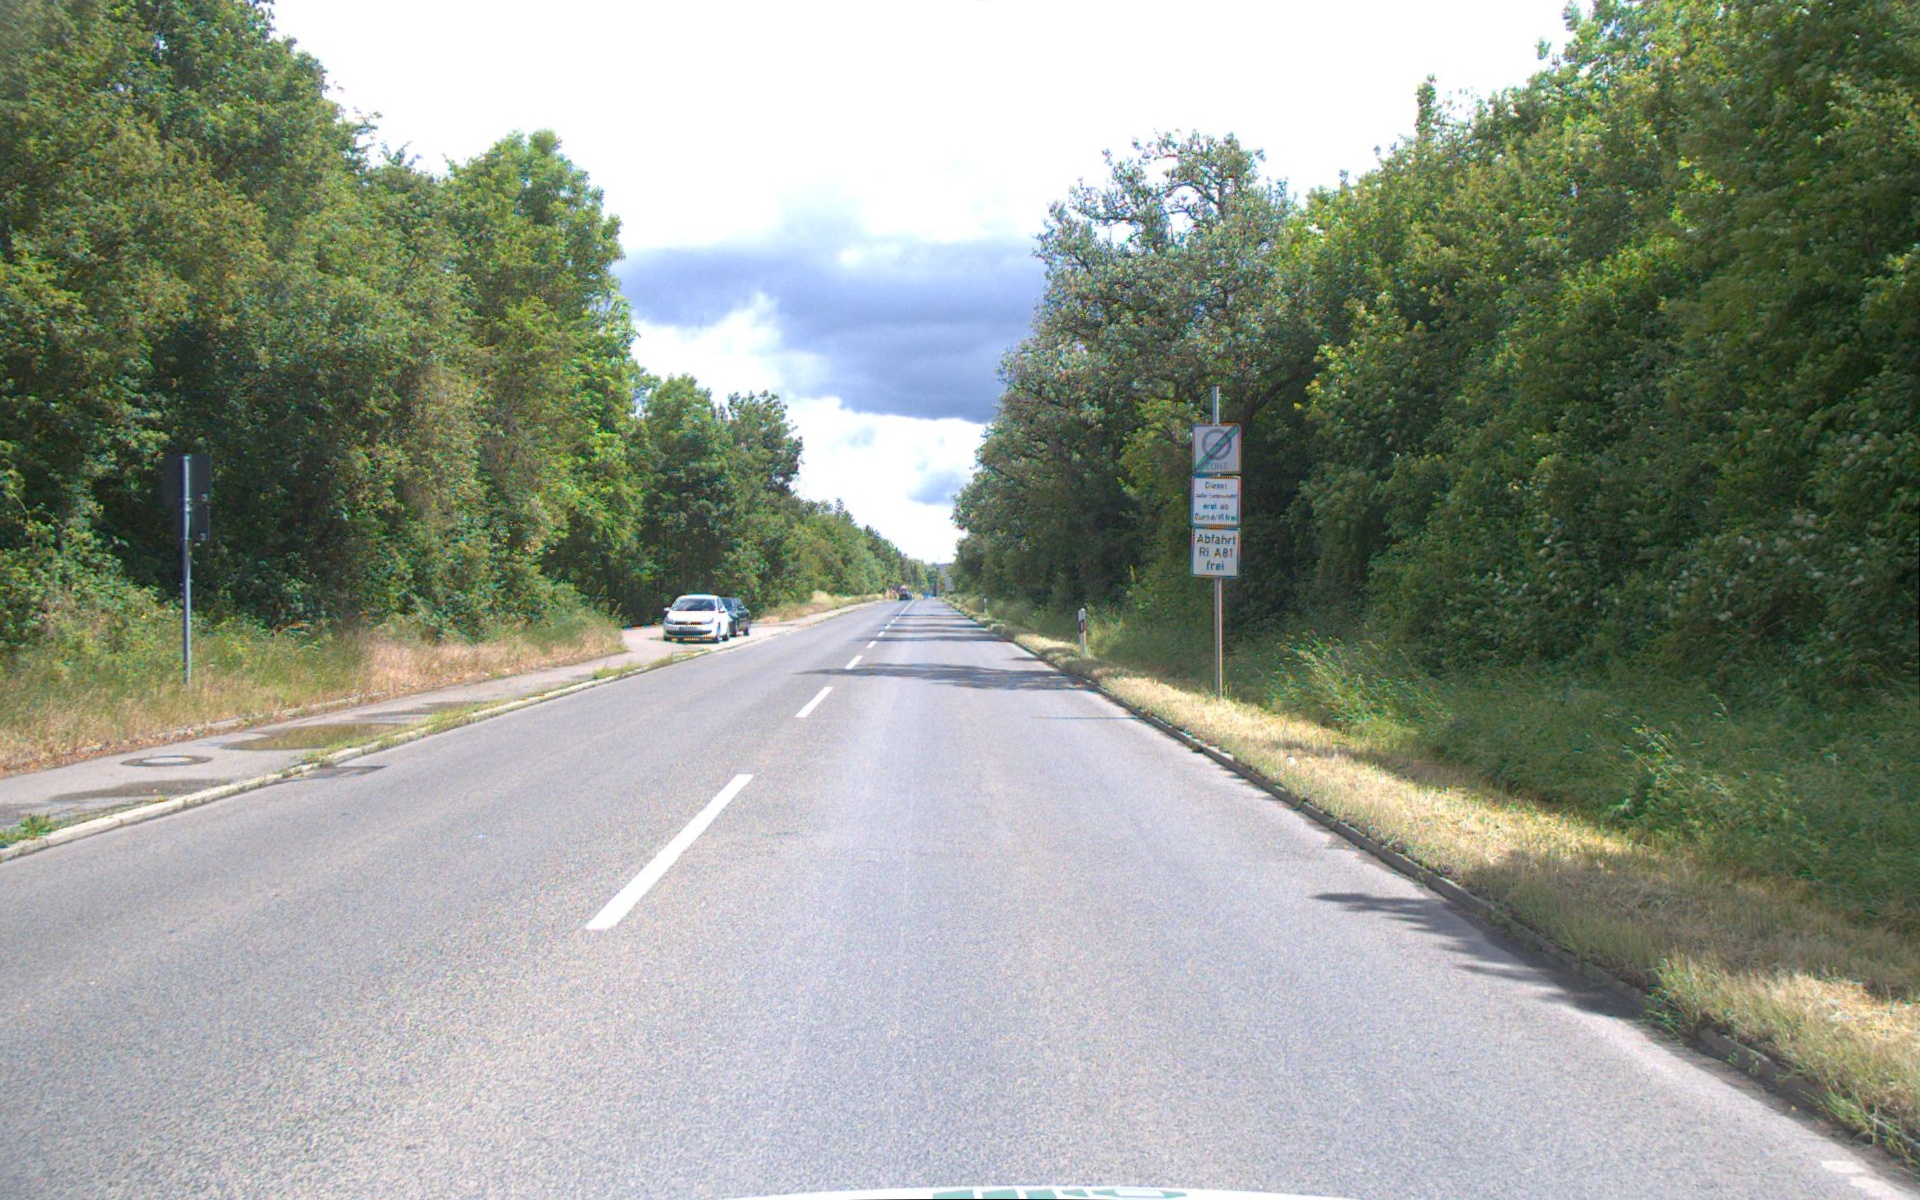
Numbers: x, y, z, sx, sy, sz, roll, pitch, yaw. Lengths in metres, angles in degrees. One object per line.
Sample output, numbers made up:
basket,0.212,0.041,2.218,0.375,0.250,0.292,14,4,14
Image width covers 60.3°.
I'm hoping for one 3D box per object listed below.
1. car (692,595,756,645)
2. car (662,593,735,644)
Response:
car,-8.590,0.710,60.481,1.761,1.653,3.955,-1,1,0
car,-8.324,0.600,52.916,1.762,1.570,3.953,-1,-1,-1
